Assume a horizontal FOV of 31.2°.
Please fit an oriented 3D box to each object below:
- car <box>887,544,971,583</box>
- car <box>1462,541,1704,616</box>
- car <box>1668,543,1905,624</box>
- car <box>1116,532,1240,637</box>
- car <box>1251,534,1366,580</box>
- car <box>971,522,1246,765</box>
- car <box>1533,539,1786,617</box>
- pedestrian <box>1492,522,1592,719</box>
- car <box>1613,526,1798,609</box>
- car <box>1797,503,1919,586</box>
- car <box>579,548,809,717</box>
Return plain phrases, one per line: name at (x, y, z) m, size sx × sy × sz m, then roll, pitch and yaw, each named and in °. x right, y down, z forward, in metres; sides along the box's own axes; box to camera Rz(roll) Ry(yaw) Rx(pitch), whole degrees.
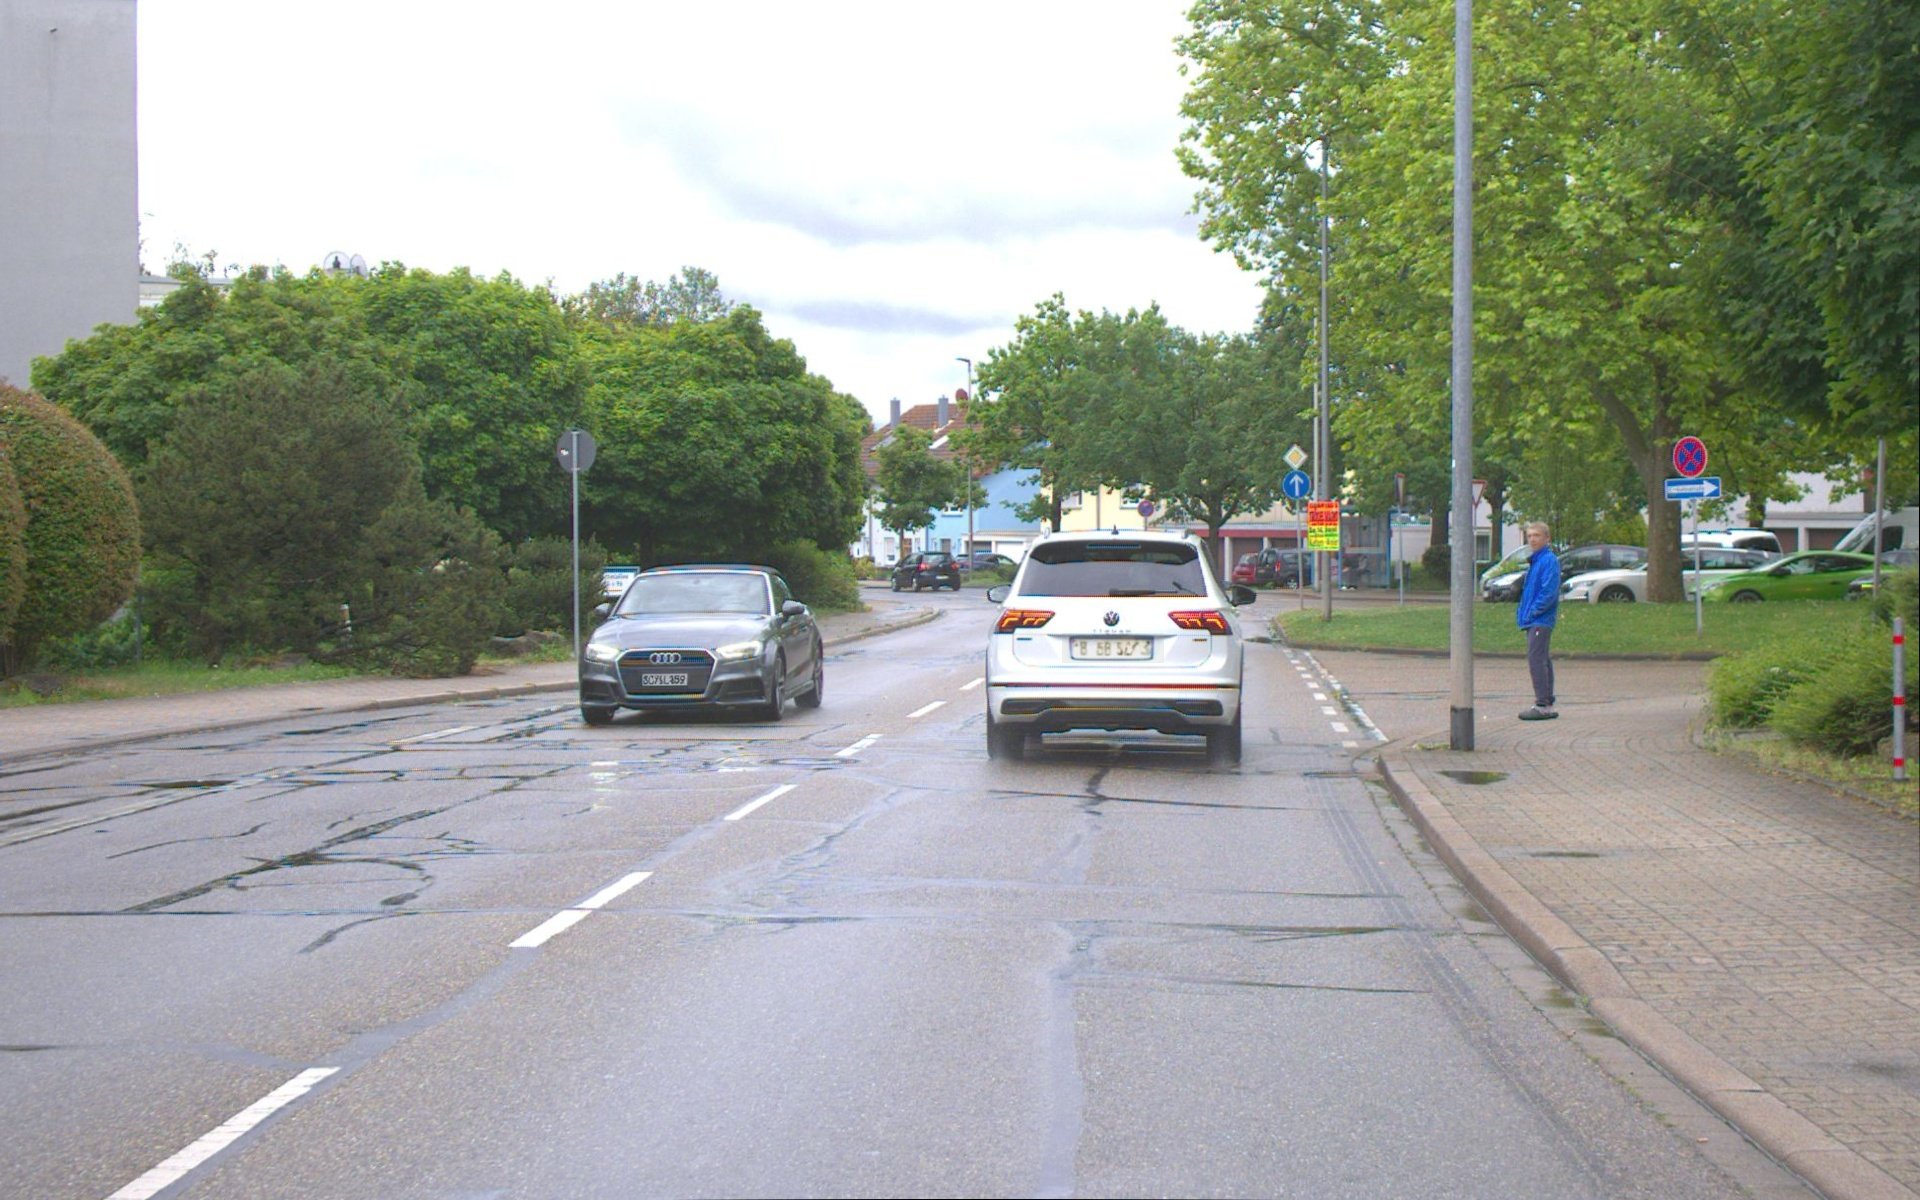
car at (-1.171, -1.365, 127.960) m, size 1.993 × 1.415 × 4.001 m, roll 0°, pitch 1°, yaw -19°
car at (12.696, -0.456, 70.208) m, size 4.572 × 1.438 × 1.764 m, roll -1°, pitch 1°, yaw -1°
car at (15.526, -0.316, 64.695) m, size 4.009 × 1.438 × 1.764 m, roll -1°, pitch 1°, yaw -1°
car at (3.305, -0.263, 52.732) m, size 1.769 × 1.546 × 4.000 m, roll 0°, pitch 1°, yaw 2°
car at (13.177, -1.643, 129.938) m, size 3.987 × 1.715 × 1.924 m, roll -1°, pitch 1°, yaw -32°
car at (1.176, 0.267, 25.590) m, size 1.865 × 1.645 × 4.000 m, roll -1°, pitch 1°, yaw 5°
car at (13.715, -0.444, 67.565) m, size 4.572 × 1.438 × 1.764 m, roll -1°, pitch 1°, yaw -1°
pedestrian at (4.960, 0.166, 29.321) m, size 0.589 × 1.660 × 0.776 m, roll 0°, pitch 1°, yaw -12°
car at (17.218, -0.762, 79.603) m, size 1.993 × 1.875 × 4.213 m, roll -1°, pitch 1°, yaw -26°
car at (23.990, -1.412, 85.523) m, size 5.819 × 2.007 × 2.000 m, roll -1°, pitch 1°, yaw -6°
car at (-2.389, 0.251, 31.704) m, size 1.674 × 1.438 × 4.000 m, roll 0°, pitch 1°, yaw 2°
